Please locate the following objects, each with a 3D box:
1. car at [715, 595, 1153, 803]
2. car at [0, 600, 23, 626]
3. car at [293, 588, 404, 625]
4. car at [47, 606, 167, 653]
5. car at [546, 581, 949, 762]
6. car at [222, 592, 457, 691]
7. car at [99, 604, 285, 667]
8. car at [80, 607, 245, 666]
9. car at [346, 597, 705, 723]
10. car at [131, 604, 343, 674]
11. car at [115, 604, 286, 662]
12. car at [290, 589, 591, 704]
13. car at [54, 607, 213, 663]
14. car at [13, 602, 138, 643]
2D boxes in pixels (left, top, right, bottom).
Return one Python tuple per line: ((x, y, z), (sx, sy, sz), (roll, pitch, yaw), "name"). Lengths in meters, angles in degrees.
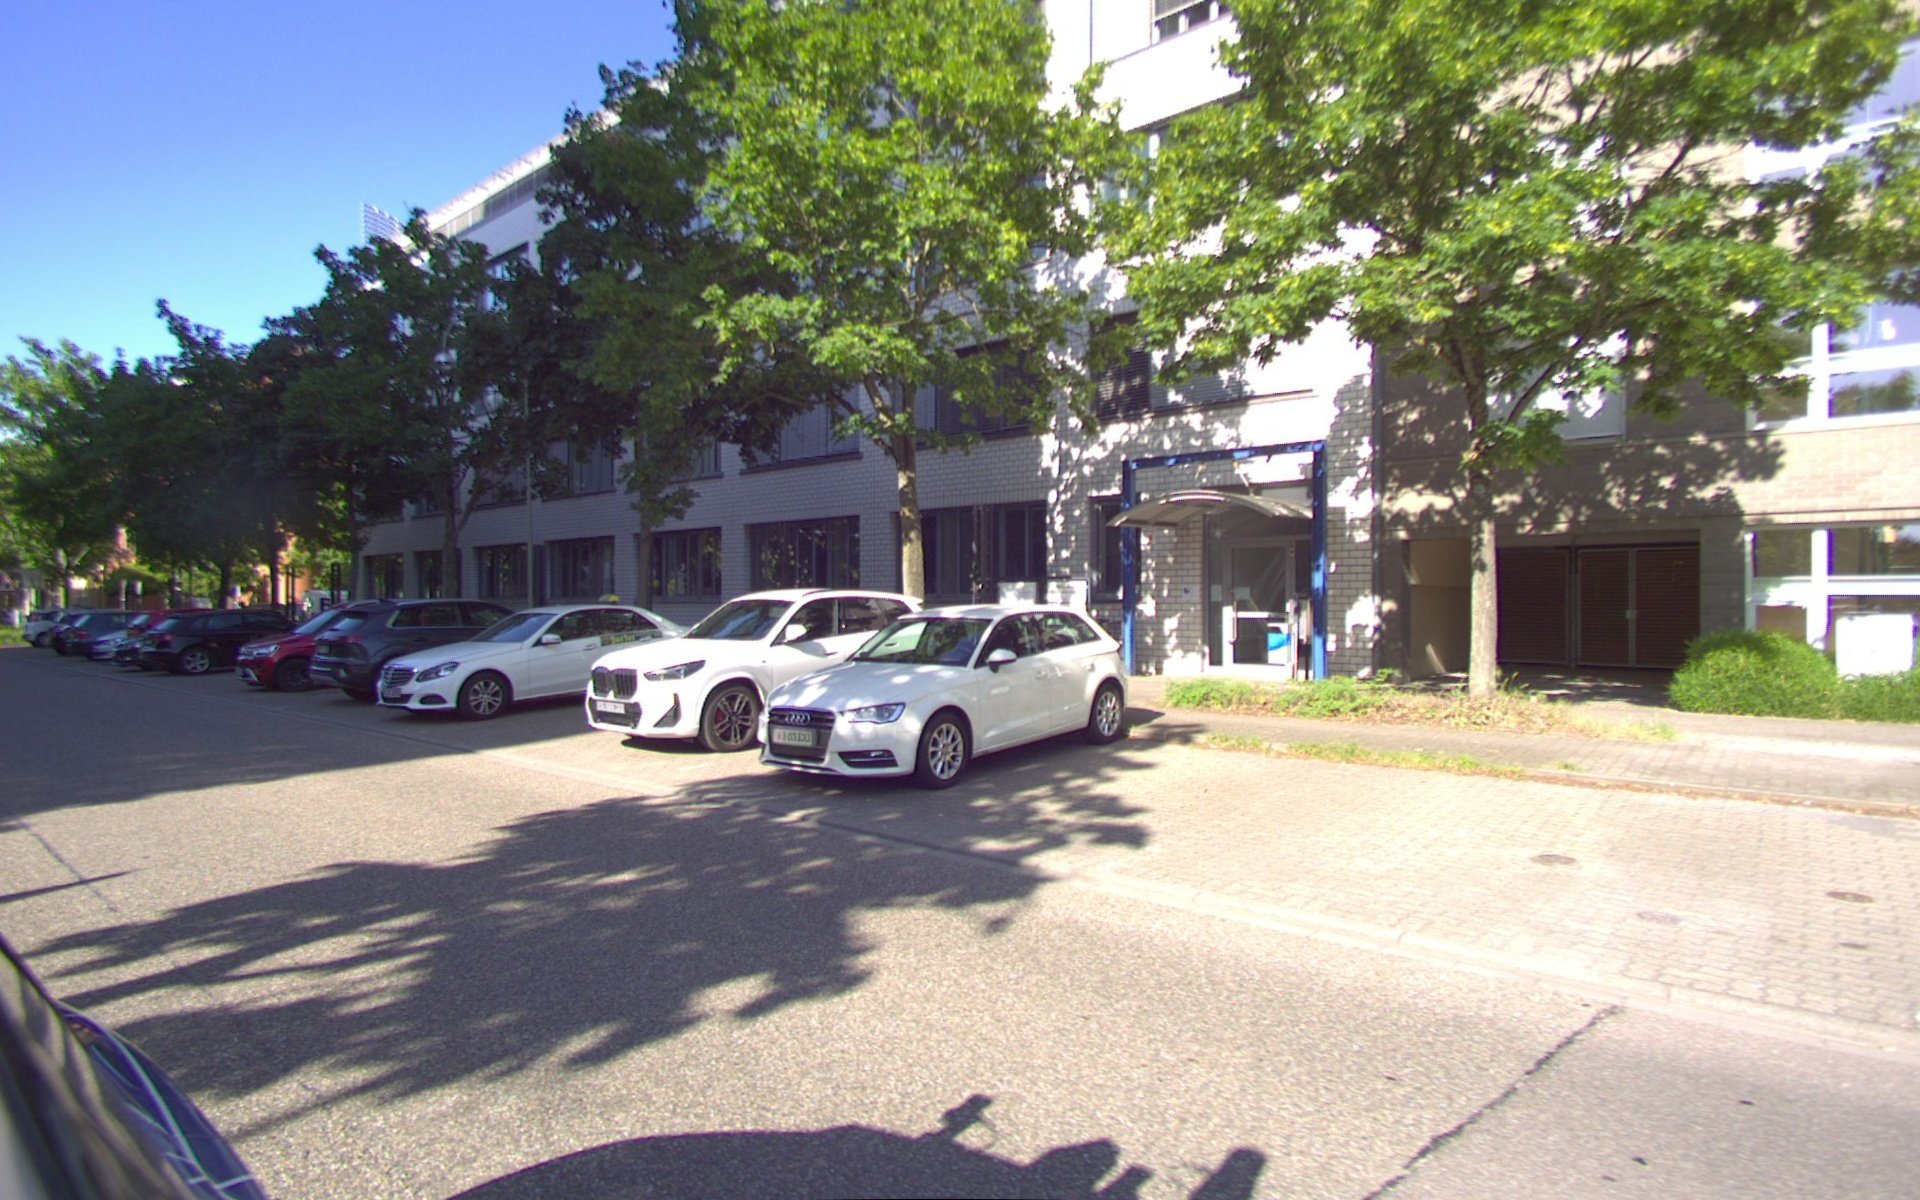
((-0.014, 0.714, 9.459), (1.798, 1.491, 4.216), (-1, 0, 39), "car")
((-61.896, 0.851, 62.899), (1.953, 1.637, 5.184), (0, 1, 42), "car")
((-36.179, 0.341, 60.012), (1.930, 2.114, 5.264), (0, 0, 38), "car")
((-28.472, 0.953, 33.839), (1.388, 1.454, 2.896), (0, 0, 40), "car")
((-2.237, 0.622, 11.543), (1.952, 1.614, 4.182), (1, 2, 41), "car")
((-11.854, 0.721, 19.475), (1.654, 1.681, 3.534), (-1, 1, 43), "car")
((-19.452, 0.841, 25.735), (1.656, 1.447, 3.495), (0, 0, 39), "car")
((-23.065, 1.003, 29.358), (1.656, 1.541, 3.483), (0, 0, 39), "car")
((-6.131, 0.739, 14.801), (1.937, 1.462, 4.468), (-1, 1, 36), "car")
((-17.157, 0.876, 24.162), (1.685, 1.424, 3.785), (-2, 0, 39), "car")
((-21.090, 0.860, 28.201), (1.655, 1.456, 3.497), (0, 0, 37), "car")
((-8.483, 0.668, 16.800), (1.802, 1.632, 4.069), (-1, 1, 41), "car")
((-25.107, 1.016, 30.819), (1.645, 1.517, 3.495), (0, 0, 39), "car")
((-35.556, 0.872, 40.751), (1.616, 1.519, 3.586), (0, 0, 38), "car")
